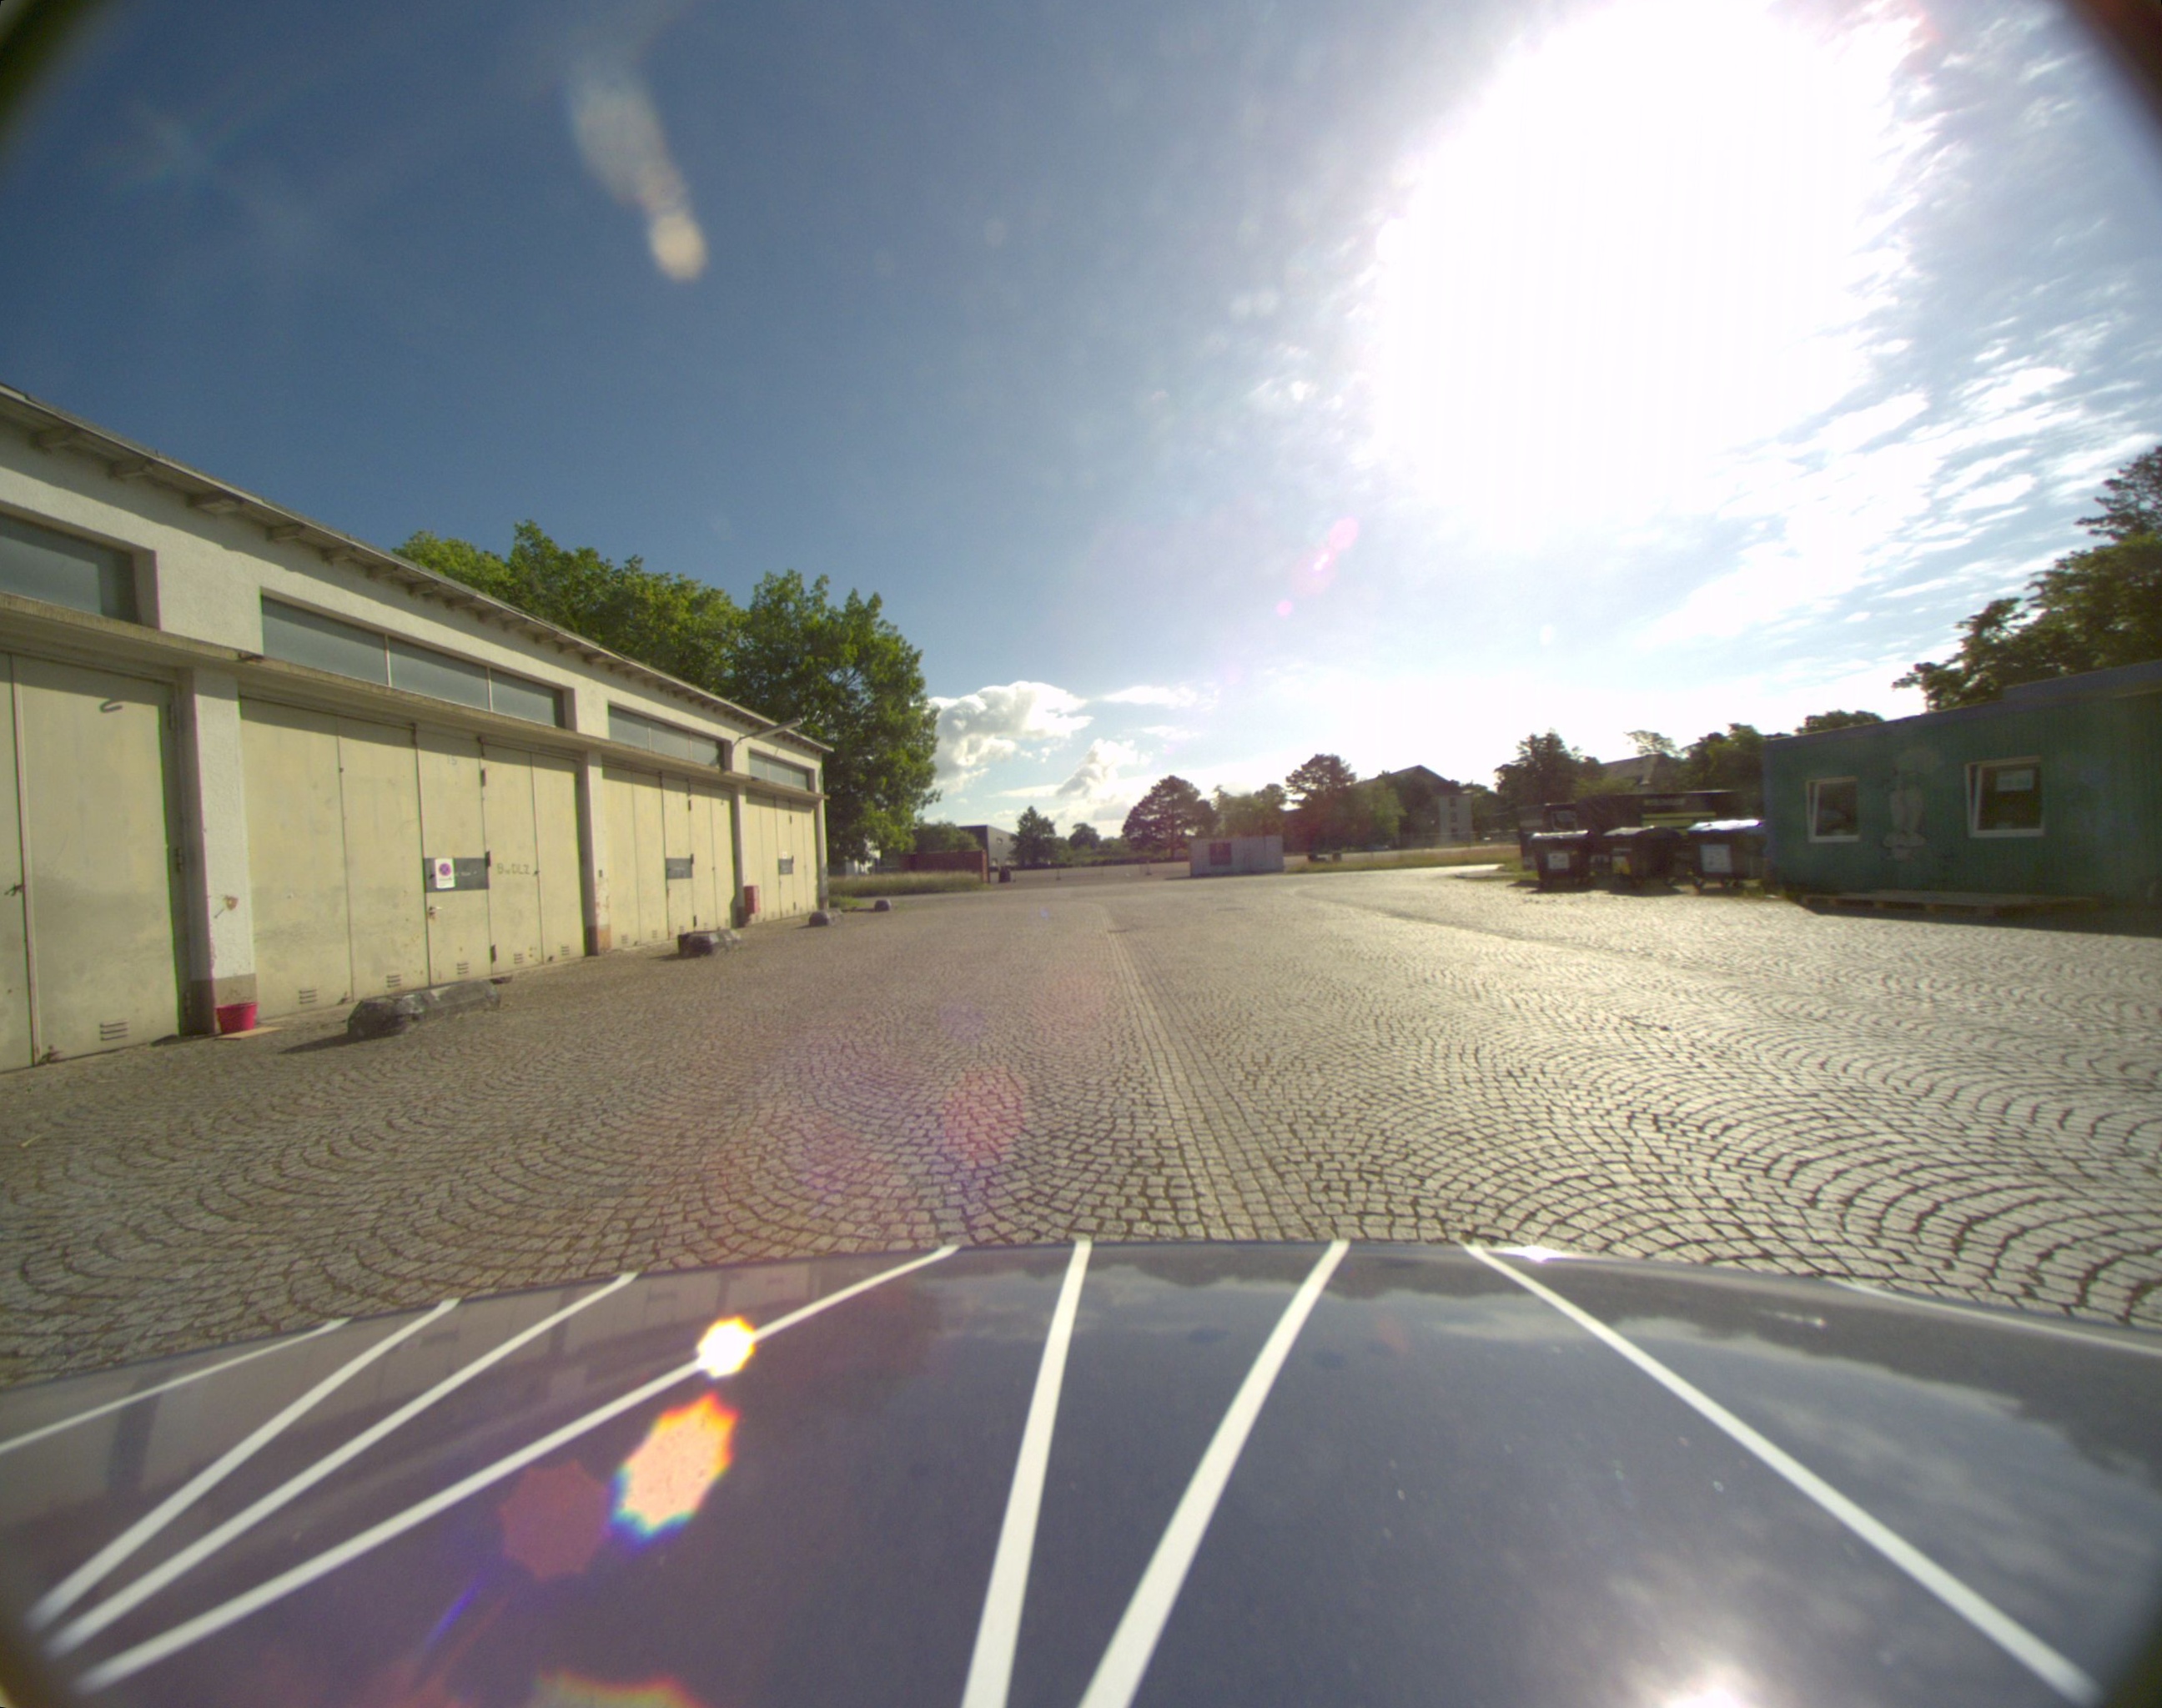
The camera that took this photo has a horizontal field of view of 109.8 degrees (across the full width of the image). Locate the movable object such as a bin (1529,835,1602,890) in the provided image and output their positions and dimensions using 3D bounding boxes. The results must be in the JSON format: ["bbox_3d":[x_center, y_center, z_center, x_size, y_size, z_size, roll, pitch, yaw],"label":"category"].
[{"bbox_3d":[12.847,0.223,20.166,1.049,1.377,1.361,-3,0,-42],"label":"movable object such as a bin"}]

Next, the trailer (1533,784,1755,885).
[{"bbox_3d":[15.701,-0.529,21.342,4.853,2.377,1.942,-4,1,-5],"label":"trailer"}]

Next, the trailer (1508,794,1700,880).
[{"bbox_3d":[16.192,-0.514,23.717,4.465,2.260,2.014,-4,0,0],"label":"trailer"}]

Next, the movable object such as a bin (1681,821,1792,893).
[{"bbox_3d":[14.175,0.066,16.480,1.089,1.428,1.407,-3,0,-12],"label":"movable object such as a bin"}]

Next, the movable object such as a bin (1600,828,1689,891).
[{"bbox_3d":[13.342,0.129,18.046,1.083,1.377,1.369,-3,0,4],"label":"movable object such as a bin"}]
